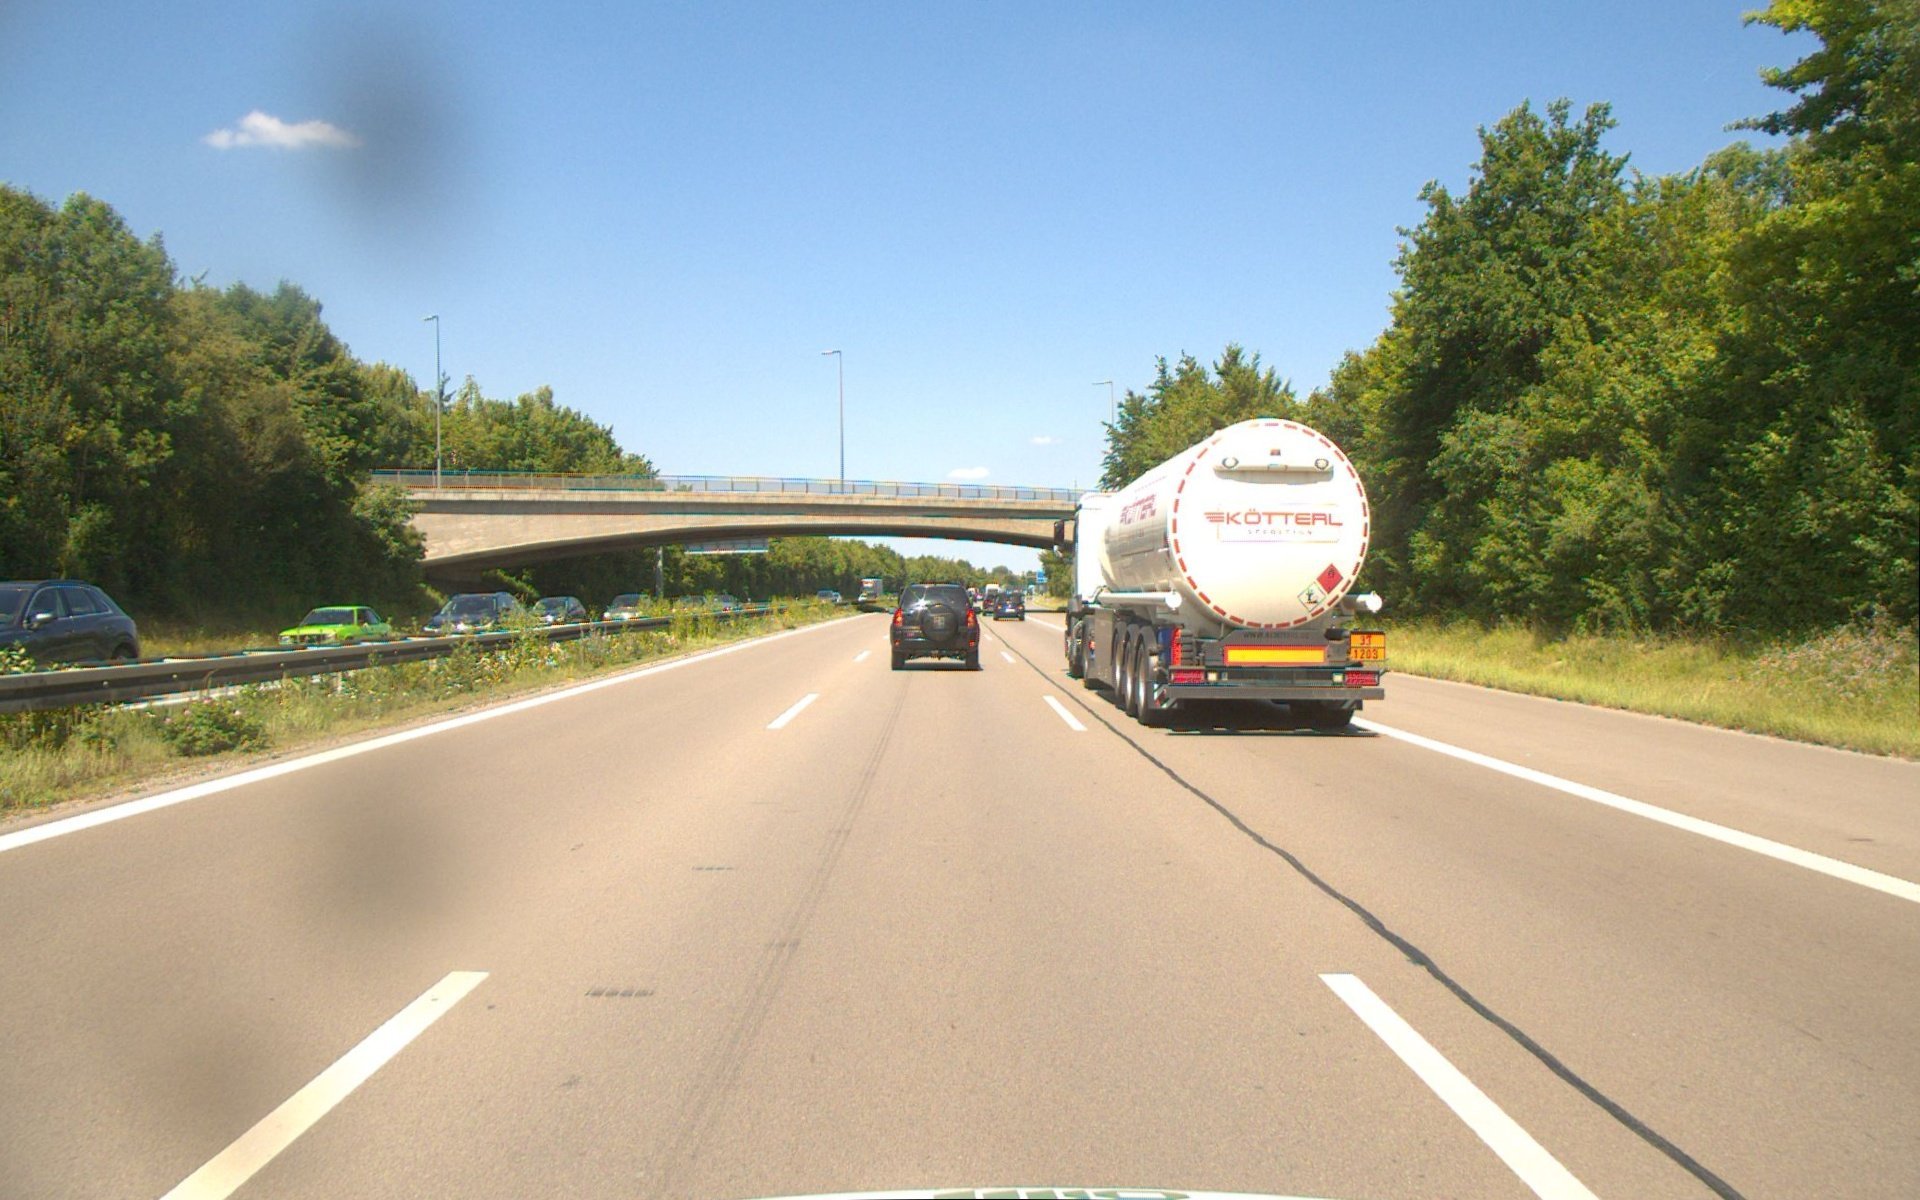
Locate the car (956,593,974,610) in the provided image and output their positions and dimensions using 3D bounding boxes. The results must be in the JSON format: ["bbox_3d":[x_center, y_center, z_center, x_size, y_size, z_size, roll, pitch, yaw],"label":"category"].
[{"bbox_3d":[0.574,0.167,187.047,1.953,1.780,4.204,-1,0,-1],"label":"car"}]

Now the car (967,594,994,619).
[{"bbox_3d":[1.373,0.424,112.455,1.804,1.640,4.000,-1,-1,0],"label":"car"}]

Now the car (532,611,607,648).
[{"bbox_3d":[-15.772,1.178,67.005,1.953,1.421,4.658,-1,-1,-1],"label":"car"}]

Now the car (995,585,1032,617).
[{"bbox_3d":[2.995,0.085,93.341,1.953,1.713,3.999,-1,-1,-1],"label":"car"}]

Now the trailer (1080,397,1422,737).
[{"bbox_3d":[3.377,-0.354,22.471,2.594,3.449,11.150,0,0,0],"label":"trailer"}]

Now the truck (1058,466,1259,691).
[{"bbox_3d":[3.236,-0.332,28.636,2.584,3.434,6.486,0,0,-1],"label":"truck"}]

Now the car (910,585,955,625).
[{"bbox_3d":[-1.241,0.212,75.436,1.953,1.736,4.335,-1,0,-1],"label":"car"}]

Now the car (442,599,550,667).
[{"bbox_3d":[-12.467,0.847,44.676,1.834,1.722,3.999,0,0,-1],"label":"car"}]

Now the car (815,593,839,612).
[{"bbox_3d":[-12.228,0.240,152.088,1.760,1.695,4.129,-1,0,1],"label":"car"}]

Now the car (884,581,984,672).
[{"bbox_3d":[-0.558,0.498,33.317,1.868,1.694,3.998,-1,0,-2],"label":"car"}]

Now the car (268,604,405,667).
[{"bbox_3d":[-15.831,0.872,42.255,1.709,1.452,4.803,-1,0,-1],"label":"car"}]

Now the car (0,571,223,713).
[{"bbox_3d":[-11.709,0.473,21.526,1.953,1.632,5.089,-1,0,0],"label":"car"}]

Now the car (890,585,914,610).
[{"bbox_3d":[-4.995,-0.228,142.424,1.953,2.049,4.949,-1,0,-1],"label":"car"}]

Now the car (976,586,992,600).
[{"bbox_3d":[3.111,-0.907,211.990,1.776,1.777,3.998,-1,0,-2],"label":"car"}]

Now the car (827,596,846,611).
[{"bbox_3d":[-14.158,0.455,190.190,1.861,1.669,3.999,-1,-1,-1],"label":"car"}]

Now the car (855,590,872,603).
[{"bbox_3d":[-12.156,-0.467,208.036,1.822,1.554,4.751,-1,0,0],"label":"car"}]

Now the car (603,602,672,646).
[{"bbox_3d":[-12.678,0.908,65.224,1.876,1.629,4.433,-1,0,-1],"label":"car"}]

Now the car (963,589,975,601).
[{"bbox_3d":[1.398,-0.726,254.703,1.775,1.777,3.999,-1,0,-1],"label":"car"}]
